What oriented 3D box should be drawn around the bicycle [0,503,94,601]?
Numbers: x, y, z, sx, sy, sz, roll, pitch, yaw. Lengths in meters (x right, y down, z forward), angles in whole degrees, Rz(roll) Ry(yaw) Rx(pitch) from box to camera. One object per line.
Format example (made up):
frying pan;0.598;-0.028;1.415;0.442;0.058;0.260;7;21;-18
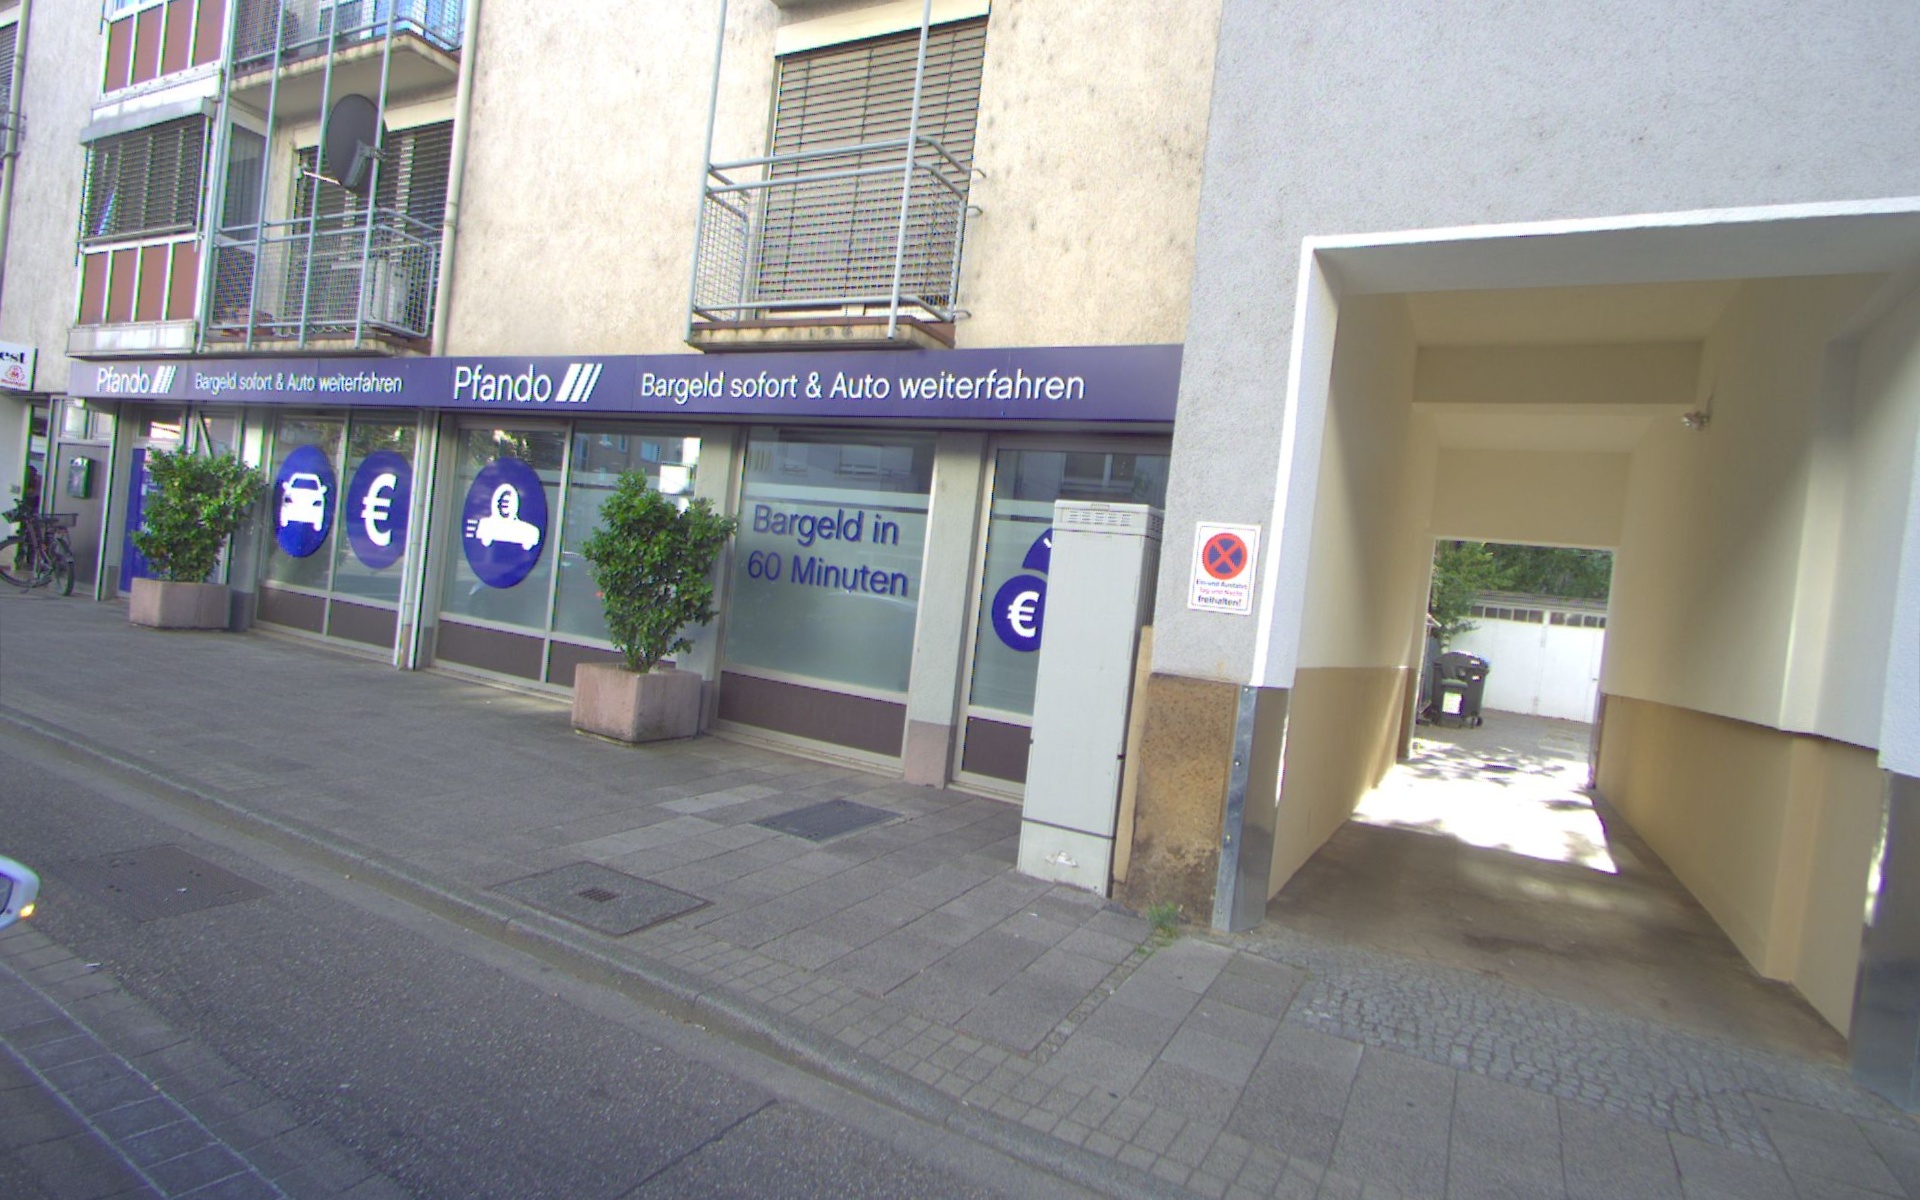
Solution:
bicycle;-11.875;-0.639;12.885;1.779;1.086;0.531;7;1;28
